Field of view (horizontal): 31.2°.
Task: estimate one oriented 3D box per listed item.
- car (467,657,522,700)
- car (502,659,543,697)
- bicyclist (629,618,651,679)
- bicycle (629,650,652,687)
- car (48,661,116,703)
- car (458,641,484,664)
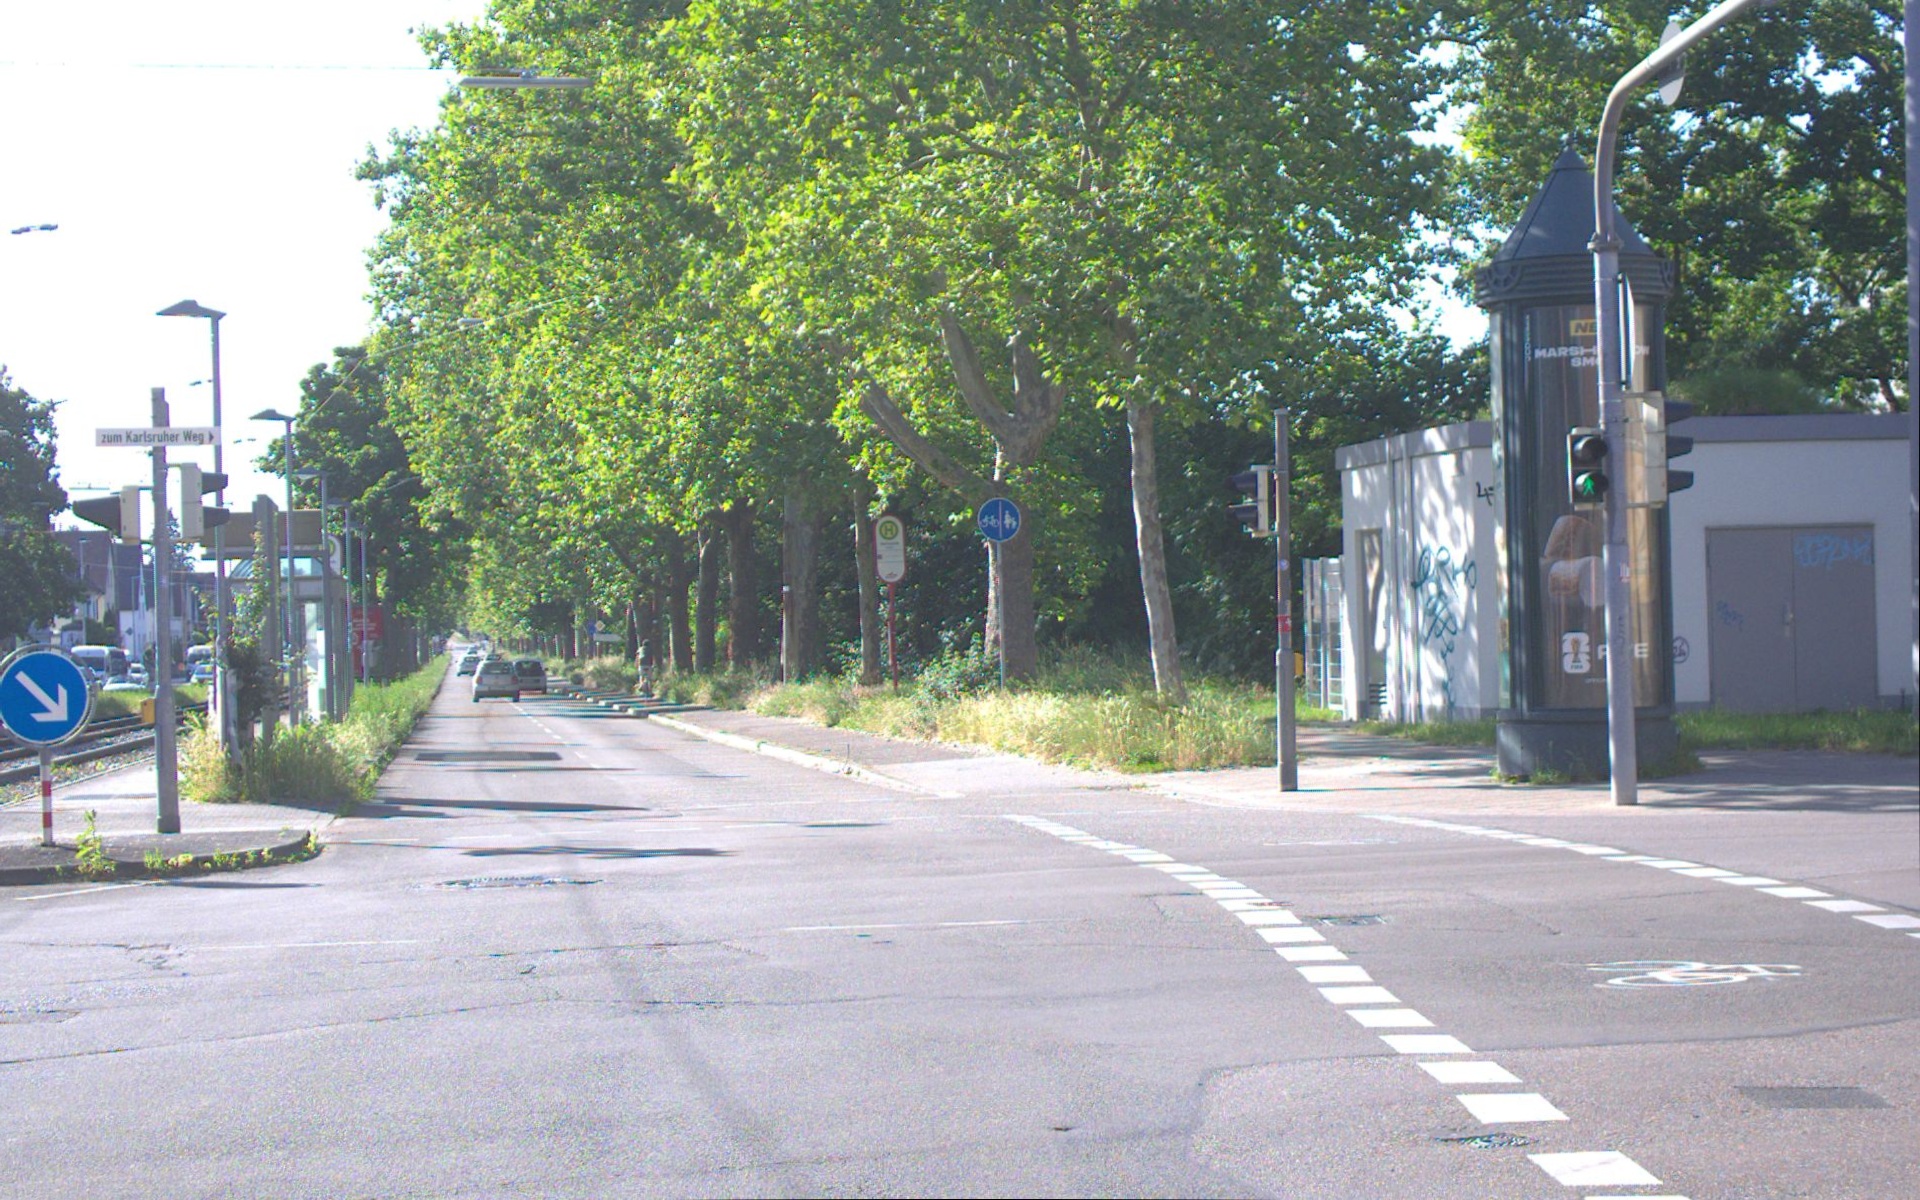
[{"bbox_3d":[-16.196,2.722,119.618,1.867,1.481,3.556,-1,-1,-8],"label":"car"},{"bbox_3d":[-19.087,3.397,149.901,1.750,1.599,3.750,0,-1,-8],"label":"car"},{"bbox_3d":[-9.366,1.410,100.678,0.534,1.764,0.713,-1,-1,-10],"label":"bicyclist"},{"bbox_3d":[-9.349,2.017,100.695,0.536,1.063,1.434,-1,-1,-10],"label":"bicycle"},{"bbox_3d":[-31.921,2.957,125.086,1.993,1.464,4.377,-1,-1,-9],"label":"car"},{"bbox_3d":[-34.607,3.719,243.338,1.750,1.599,3.581,-1,-1,-9],"label":"car"}]
